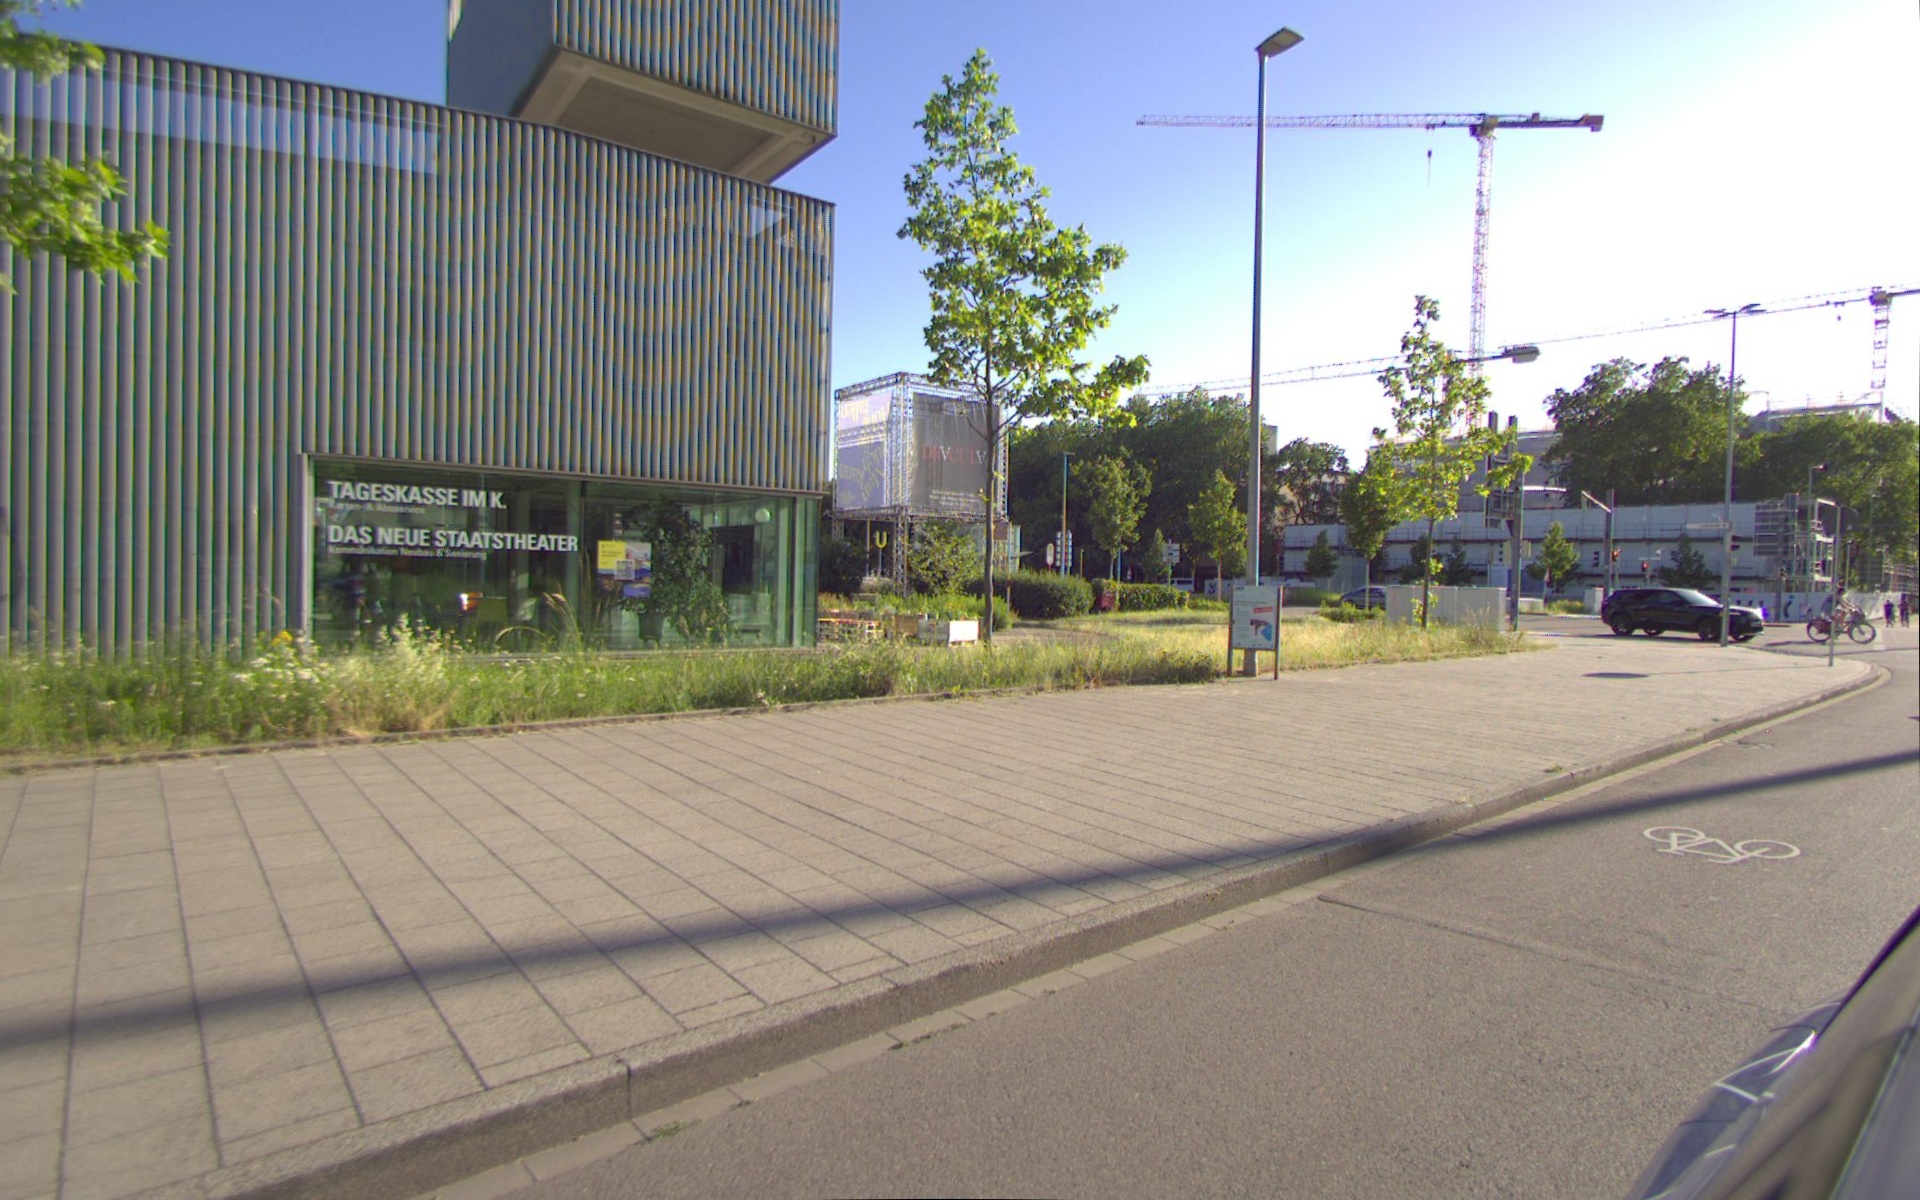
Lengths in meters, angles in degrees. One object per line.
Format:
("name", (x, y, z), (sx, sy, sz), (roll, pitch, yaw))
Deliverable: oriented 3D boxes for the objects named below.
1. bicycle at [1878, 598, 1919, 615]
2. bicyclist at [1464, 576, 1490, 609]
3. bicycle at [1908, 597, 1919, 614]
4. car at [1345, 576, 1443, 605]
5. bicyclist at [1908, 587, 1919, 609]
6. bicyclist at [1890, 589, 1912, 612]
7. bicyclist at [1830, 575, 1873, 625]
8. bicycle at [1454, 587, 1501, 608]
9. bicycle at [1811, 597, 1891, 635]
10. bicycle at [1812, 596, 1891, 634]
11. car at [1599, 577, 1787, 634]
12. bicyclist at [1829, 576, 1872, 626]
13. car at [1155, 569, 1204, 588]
("bicycle", (54.026, 0.368, 57.942), (0.788, 0.939, 2.082), (0, 1, -18))
("bicyclist", (24.633, -0.363, 48.230), (0.614, 1.522, 0.936), (-1, 2, -43))
("bicycle", (56.251, 0.331, 59.437), (0.803, 0.939, 2.044), (1, 1, 44))
("car", (22.784, -0.528, 53.239), (1.742, 1.368, 4.529), (-1, 3, -33))
("bicyclist", (56.261, -0.114, 59.440), (0.803, 1.314, 0.764), (1, 1, 45))
("bicyclist", (53.987, 0.033, 58.071), (0.788, 1.286, 0.639), (0, 1, -18))
("bicyclist", (29.126, -0.018, 33.066), (0.613, 1.594, 0.895), (0, 1, -32))
("bicycle", (24.635, -0.118, 48.227), (0.614, 0.920, 1.906), (-1, 3, -43))
("bicycle", (28.581, 0.496, 32.489), (0.639, 1.107, 1.802), (0, 2, -31))
("bicycle", (29.106, 0.473, 33.079), (0.613, 1.130, 1.817), (0, 2, -32))
("car", (24.420, 0.132, 33.964), (1.958, 1.682, 4.803), (1, 2, -20))
("bicyclist", (28.576, 0.030, 32.481), (0.639, 1.562, 0.848), (0, 1, -32))
("car", (23.782, -2.321, 109.628), (5.223, 1.915, 2.002), (0, 1, -29))
